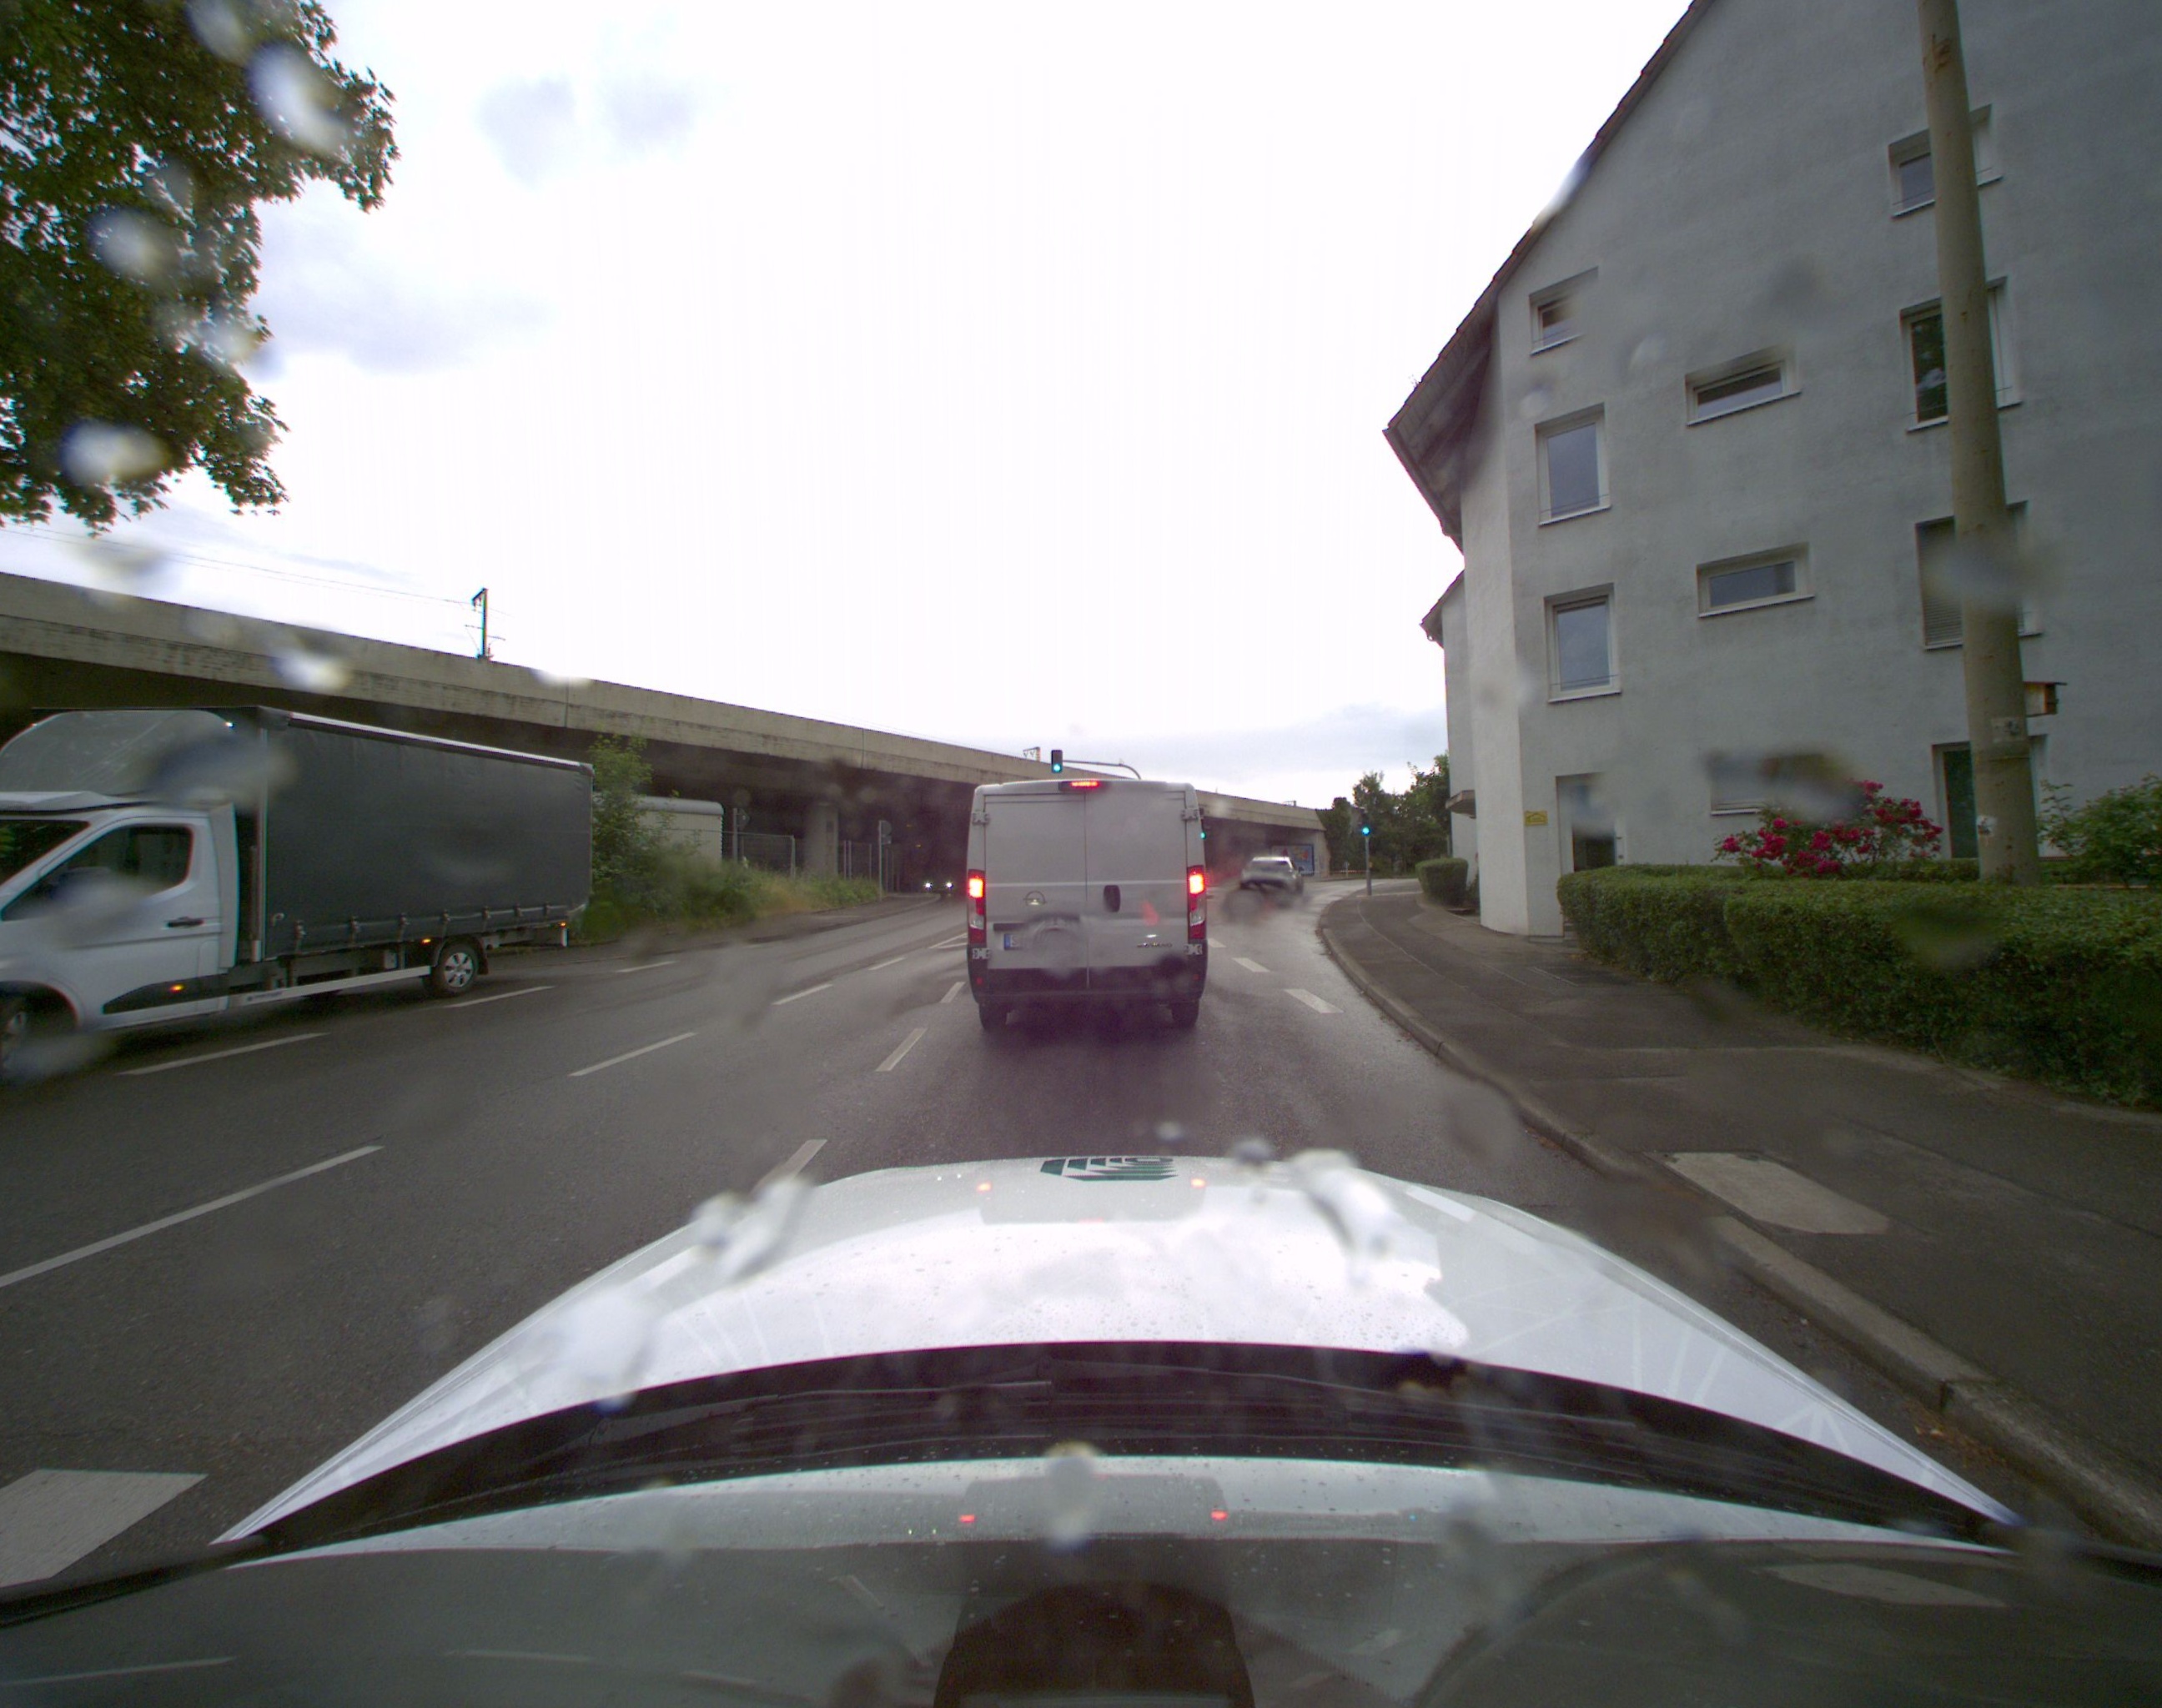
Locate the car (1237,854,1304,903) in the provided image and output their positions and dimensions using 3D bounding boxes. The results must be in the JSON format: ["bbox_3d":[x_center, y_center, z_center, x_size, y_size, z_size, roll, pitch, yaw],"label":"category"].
[{"bbox_3d":[6.457,0.790,27.473,1.860,1.530,4.018,-1,-1,17],"label":"car"}]

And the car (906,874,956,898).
[{"bbox_3d":[-10.430,2.178,56.401,2.006,1.530,4.456,0,-1,-30],"label":"car"}]

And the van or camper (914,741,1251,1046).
[{"bbox_3d":[0.009,0.340,9.046,2.690,2.417,4.902,-1,-1,0],"label":"van or camper"}]

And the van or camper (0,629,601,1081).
[{"bbox_3d":[-9.180,0.060,9.161,2.688,3.335,7.765,-1,-1,2],"label":"van or camper"}]
